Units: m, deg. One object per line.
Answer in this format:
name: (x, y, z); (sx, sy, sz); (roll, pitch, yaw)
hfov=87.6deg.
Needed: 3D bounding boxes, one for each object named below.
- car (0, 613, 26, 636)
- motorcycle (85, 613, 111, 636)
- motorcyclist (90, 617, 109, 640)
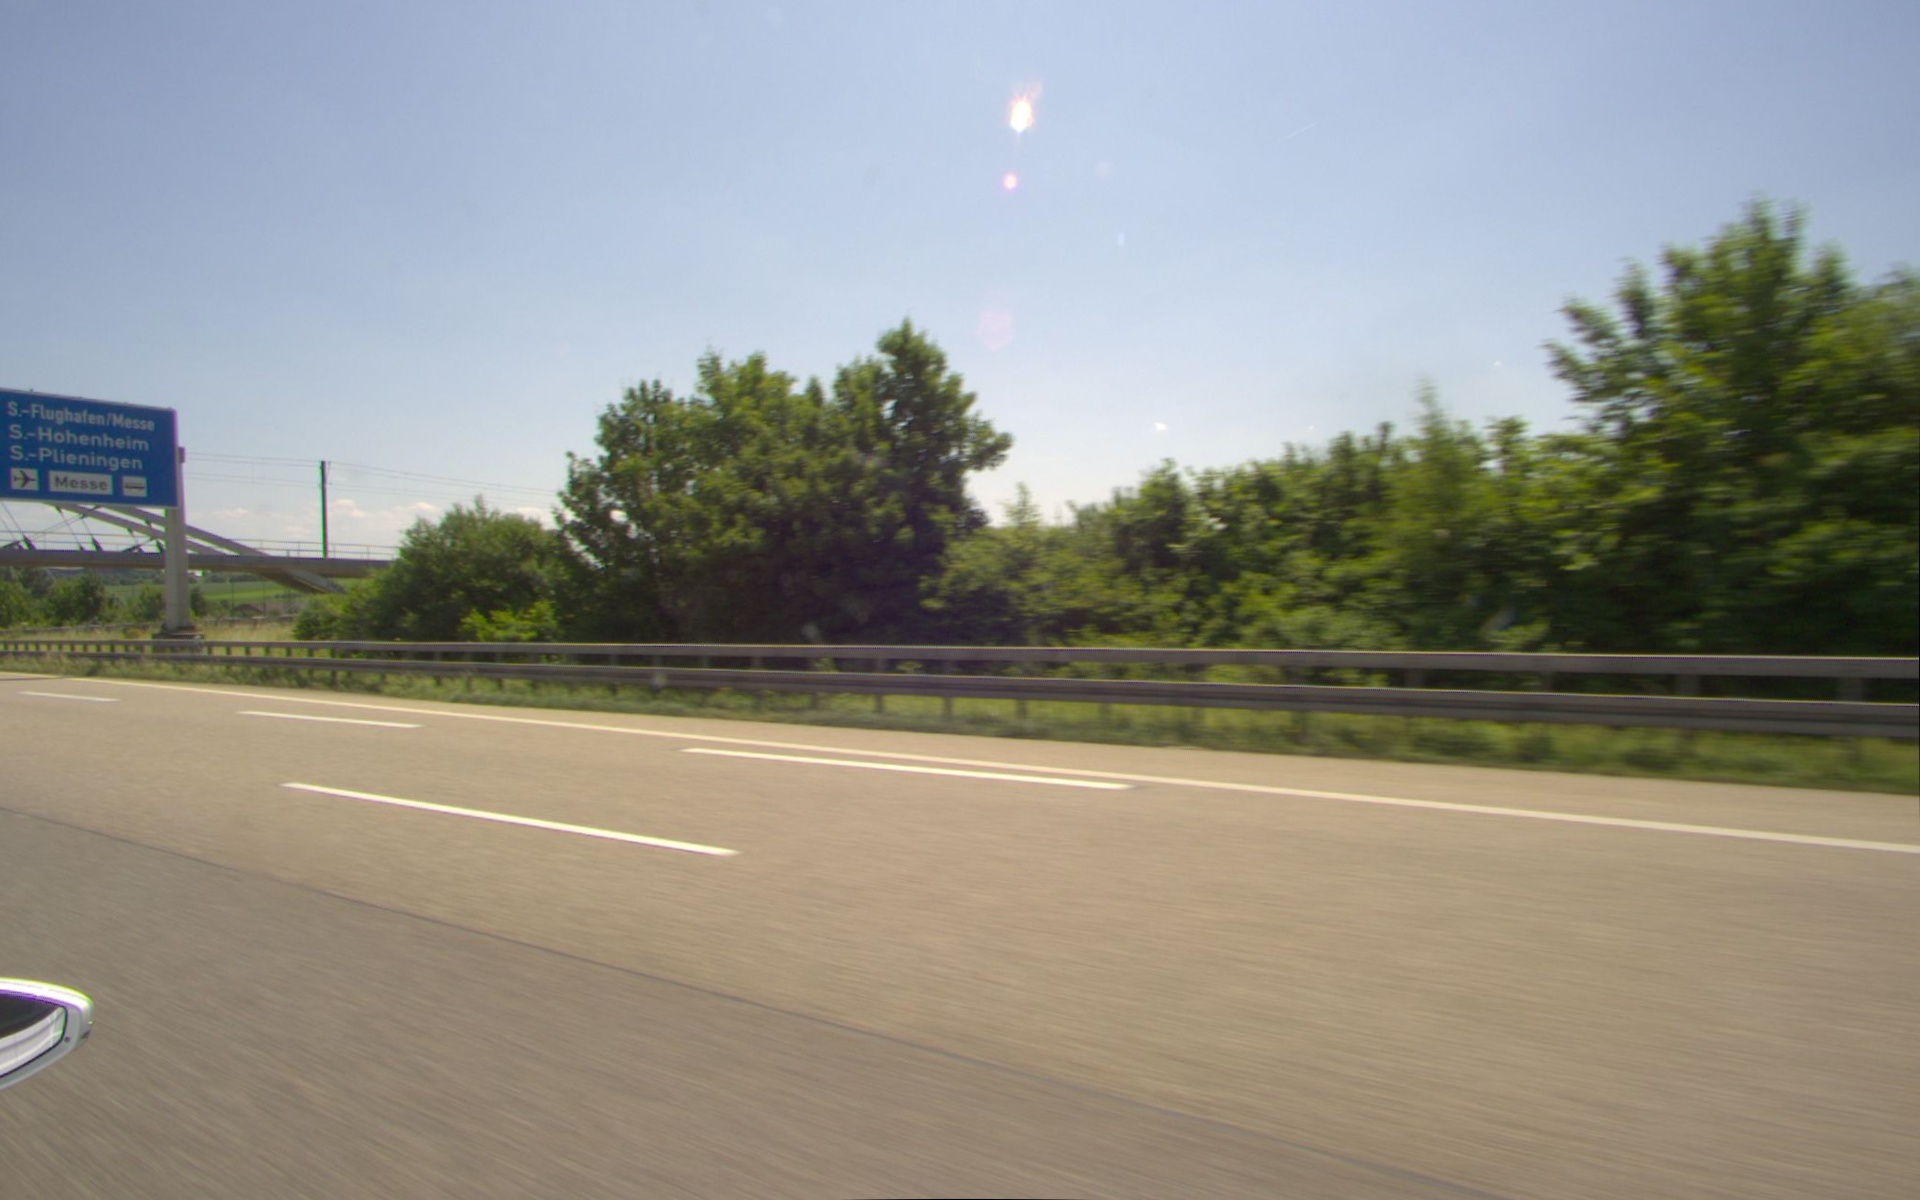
car: (-70.194, 1.802, 73.317); (4.070, 1.595, 1.696); (-1, -2, 33)
motorcycle: (-53.817, 1.544, 62.517); (1.843, 1.384, 0.759); (-1, -1, 32)
motorcyclist: (-53.646, 1.781, 62.431); (0.866, 1.384, 0.667); (-1, -1, 33)
